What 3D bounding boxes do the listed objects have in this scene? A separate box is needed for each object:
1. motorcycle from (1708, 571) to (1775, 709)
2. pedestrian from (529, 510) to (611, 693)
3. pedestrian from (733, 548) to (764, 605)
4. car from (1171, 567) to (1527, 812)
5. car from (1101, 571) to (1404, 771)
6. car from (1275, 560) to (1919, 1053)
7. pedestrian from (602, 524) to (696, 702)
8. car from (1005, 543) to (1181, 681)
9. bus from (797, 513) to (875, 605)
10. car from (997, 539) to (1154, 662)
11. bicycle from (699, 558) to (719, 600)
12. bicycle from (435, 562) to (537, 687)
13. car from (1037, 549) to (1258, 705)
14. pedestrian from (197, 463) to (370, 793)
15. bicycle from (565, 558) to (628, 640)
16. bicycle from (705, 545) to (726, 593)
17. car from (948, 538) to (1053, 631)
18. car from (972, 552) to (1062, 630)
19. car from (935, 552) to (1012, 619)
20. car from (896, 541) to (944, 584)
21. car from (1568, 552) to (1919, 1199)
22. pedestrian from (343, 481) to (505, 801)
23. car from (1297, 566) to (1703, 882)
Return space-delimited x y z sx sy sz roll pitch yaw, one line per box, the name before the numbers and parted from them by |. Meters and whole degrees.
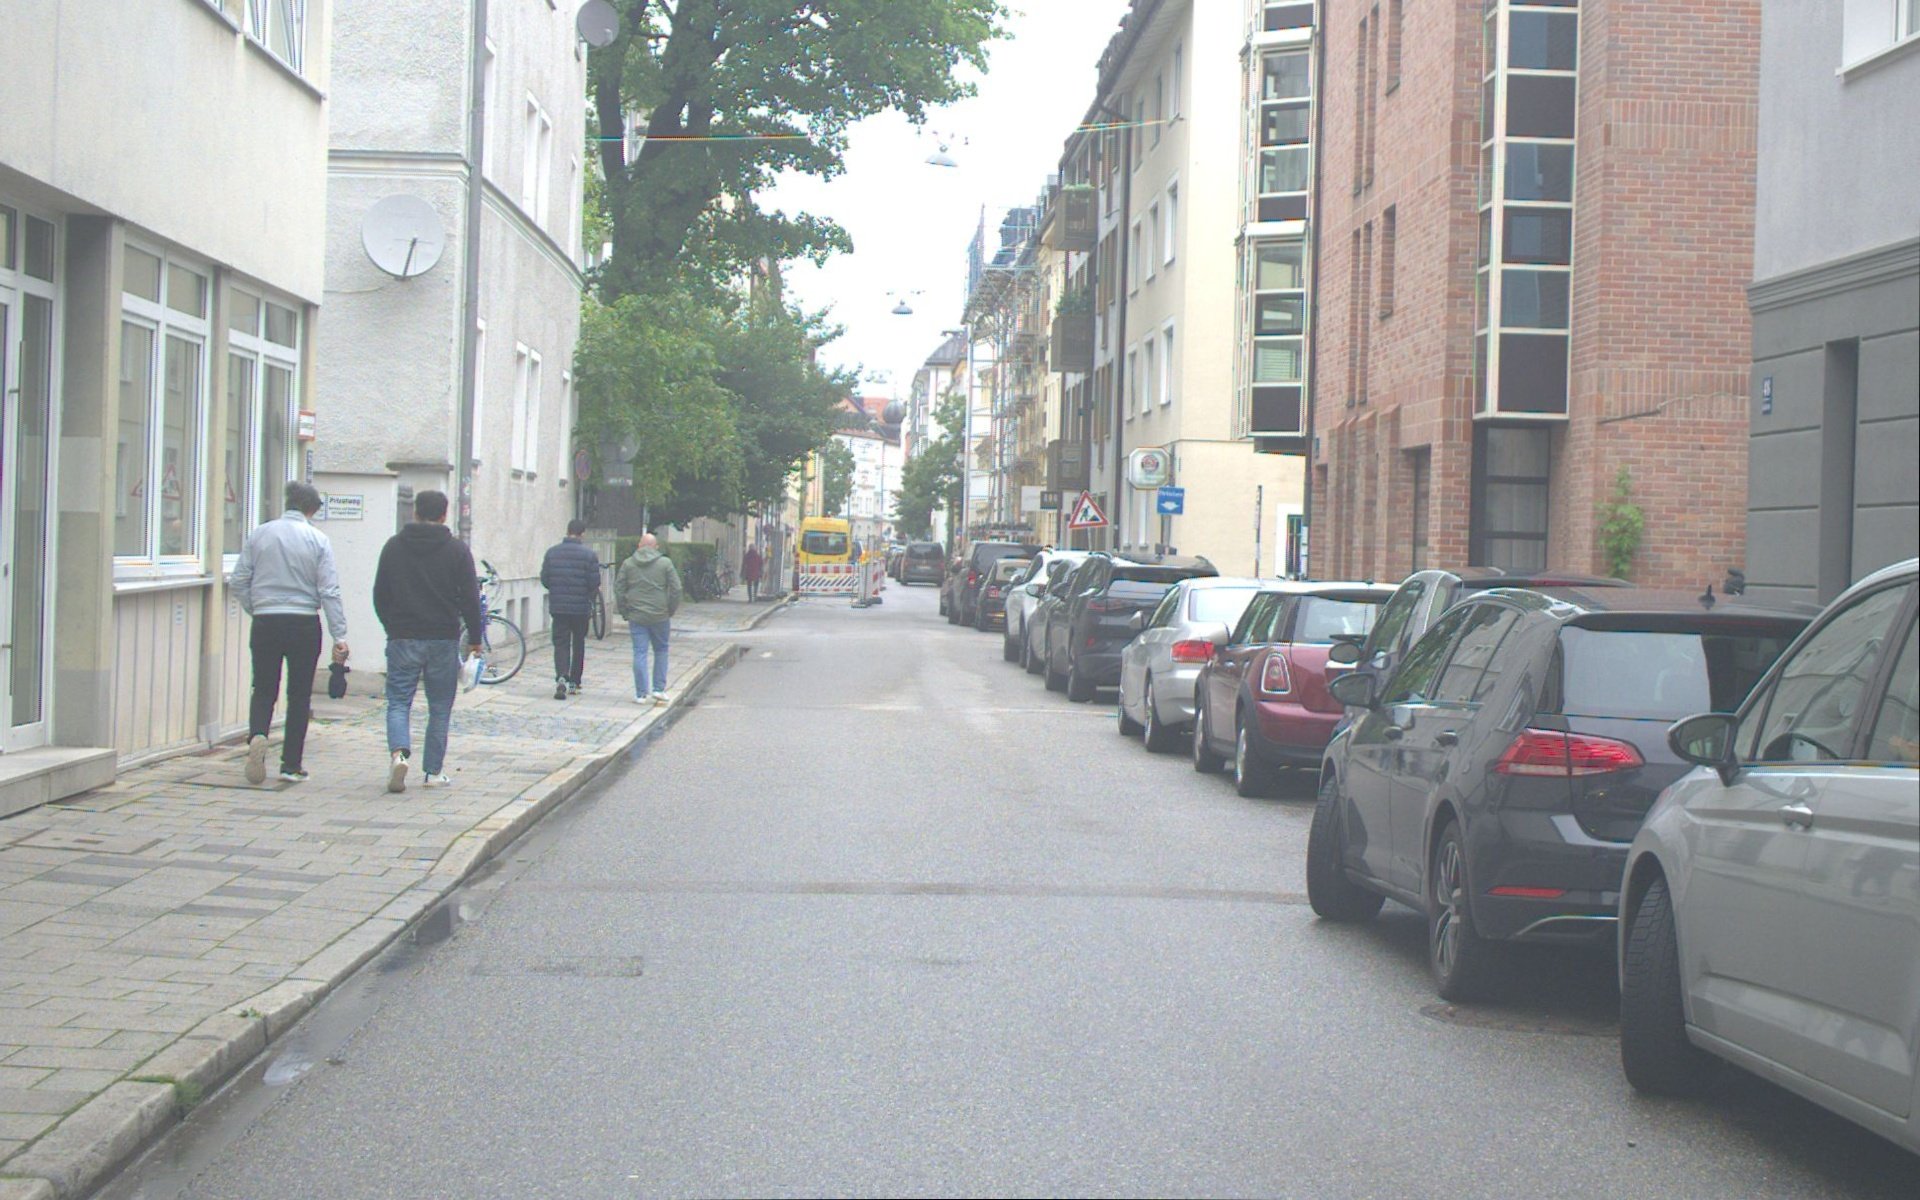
motorcycle | 7.835 0.388 34.514 0.540 1.340 1.939 1 0 10
pedestrian | -3.764 0.011 33.217 0.612 1.707 0.823 4 0 -2
pedestrian | -5.606 -0.618 91.051 0.756 1.486 0.831 1 0 -1
car | 2.574 0.545 23.698 1.745 1.457 4.151 2 1 -3
car | 2.307 0.517 28.293 1.836 1.412 4.601 2 1 -3
car | 2.458 0.653 13.274 1.839 1.523 4.293 2 1 -3
pedestrian | -3.009 0.124 33.317 0.753 1.653 0.906 4 0 -2
car | 1.620 0.127 43.143 1.720 1.630 3.882 1 0 -5
bus | -4.308 -1.407 120.249 2.592 3.091 6.306 1 0 -1
car | 1.586 -0.021 48.504 1.748 1.624 4.197 1 1 -4
bicycle | -6.434 -0.543 88.219 0.446 1.069 2.468 1 0 -3
bicycle | -4.730 0.232 34.215 0.641 1.213 1.665 1 0 -21
car | 2.011 0.250 38.136 1.885 1.550 4.392 2 1 -4
pedestrian | -3.826 0.152 19.494 0.718 1.790 0.917 3 0 -1
bicycle | -5.167 -0.029 48.819 0.473 1.107 1.761 2 1 -19
bicycle | -7.179 -0.909 101.009 0.514 1.413 1.934 1 0 -2
car | 0.847 -0.363 74.603 1.801 1.814 4.001 5 1 -4
car | 1.143 -0.199 70.250 1.624 1.482 3.808 2 1 -1
car | 0.318 -0.387 86.479 1.635 1.509 3.829 5 1 -2
car | -1.776 -1.675 152.347 1.801 1.706 3.827 5 1 -3
car | 2.929 0.670 8.398 1.875 1.565 4.317 0 1 -3
pedestrian | -3.071 0.228 19.755 0.718 1.759 0.838 3 0 -1
car | 2.866 0.608 18.835 1.521 1.506 3.202 2 1 -3
